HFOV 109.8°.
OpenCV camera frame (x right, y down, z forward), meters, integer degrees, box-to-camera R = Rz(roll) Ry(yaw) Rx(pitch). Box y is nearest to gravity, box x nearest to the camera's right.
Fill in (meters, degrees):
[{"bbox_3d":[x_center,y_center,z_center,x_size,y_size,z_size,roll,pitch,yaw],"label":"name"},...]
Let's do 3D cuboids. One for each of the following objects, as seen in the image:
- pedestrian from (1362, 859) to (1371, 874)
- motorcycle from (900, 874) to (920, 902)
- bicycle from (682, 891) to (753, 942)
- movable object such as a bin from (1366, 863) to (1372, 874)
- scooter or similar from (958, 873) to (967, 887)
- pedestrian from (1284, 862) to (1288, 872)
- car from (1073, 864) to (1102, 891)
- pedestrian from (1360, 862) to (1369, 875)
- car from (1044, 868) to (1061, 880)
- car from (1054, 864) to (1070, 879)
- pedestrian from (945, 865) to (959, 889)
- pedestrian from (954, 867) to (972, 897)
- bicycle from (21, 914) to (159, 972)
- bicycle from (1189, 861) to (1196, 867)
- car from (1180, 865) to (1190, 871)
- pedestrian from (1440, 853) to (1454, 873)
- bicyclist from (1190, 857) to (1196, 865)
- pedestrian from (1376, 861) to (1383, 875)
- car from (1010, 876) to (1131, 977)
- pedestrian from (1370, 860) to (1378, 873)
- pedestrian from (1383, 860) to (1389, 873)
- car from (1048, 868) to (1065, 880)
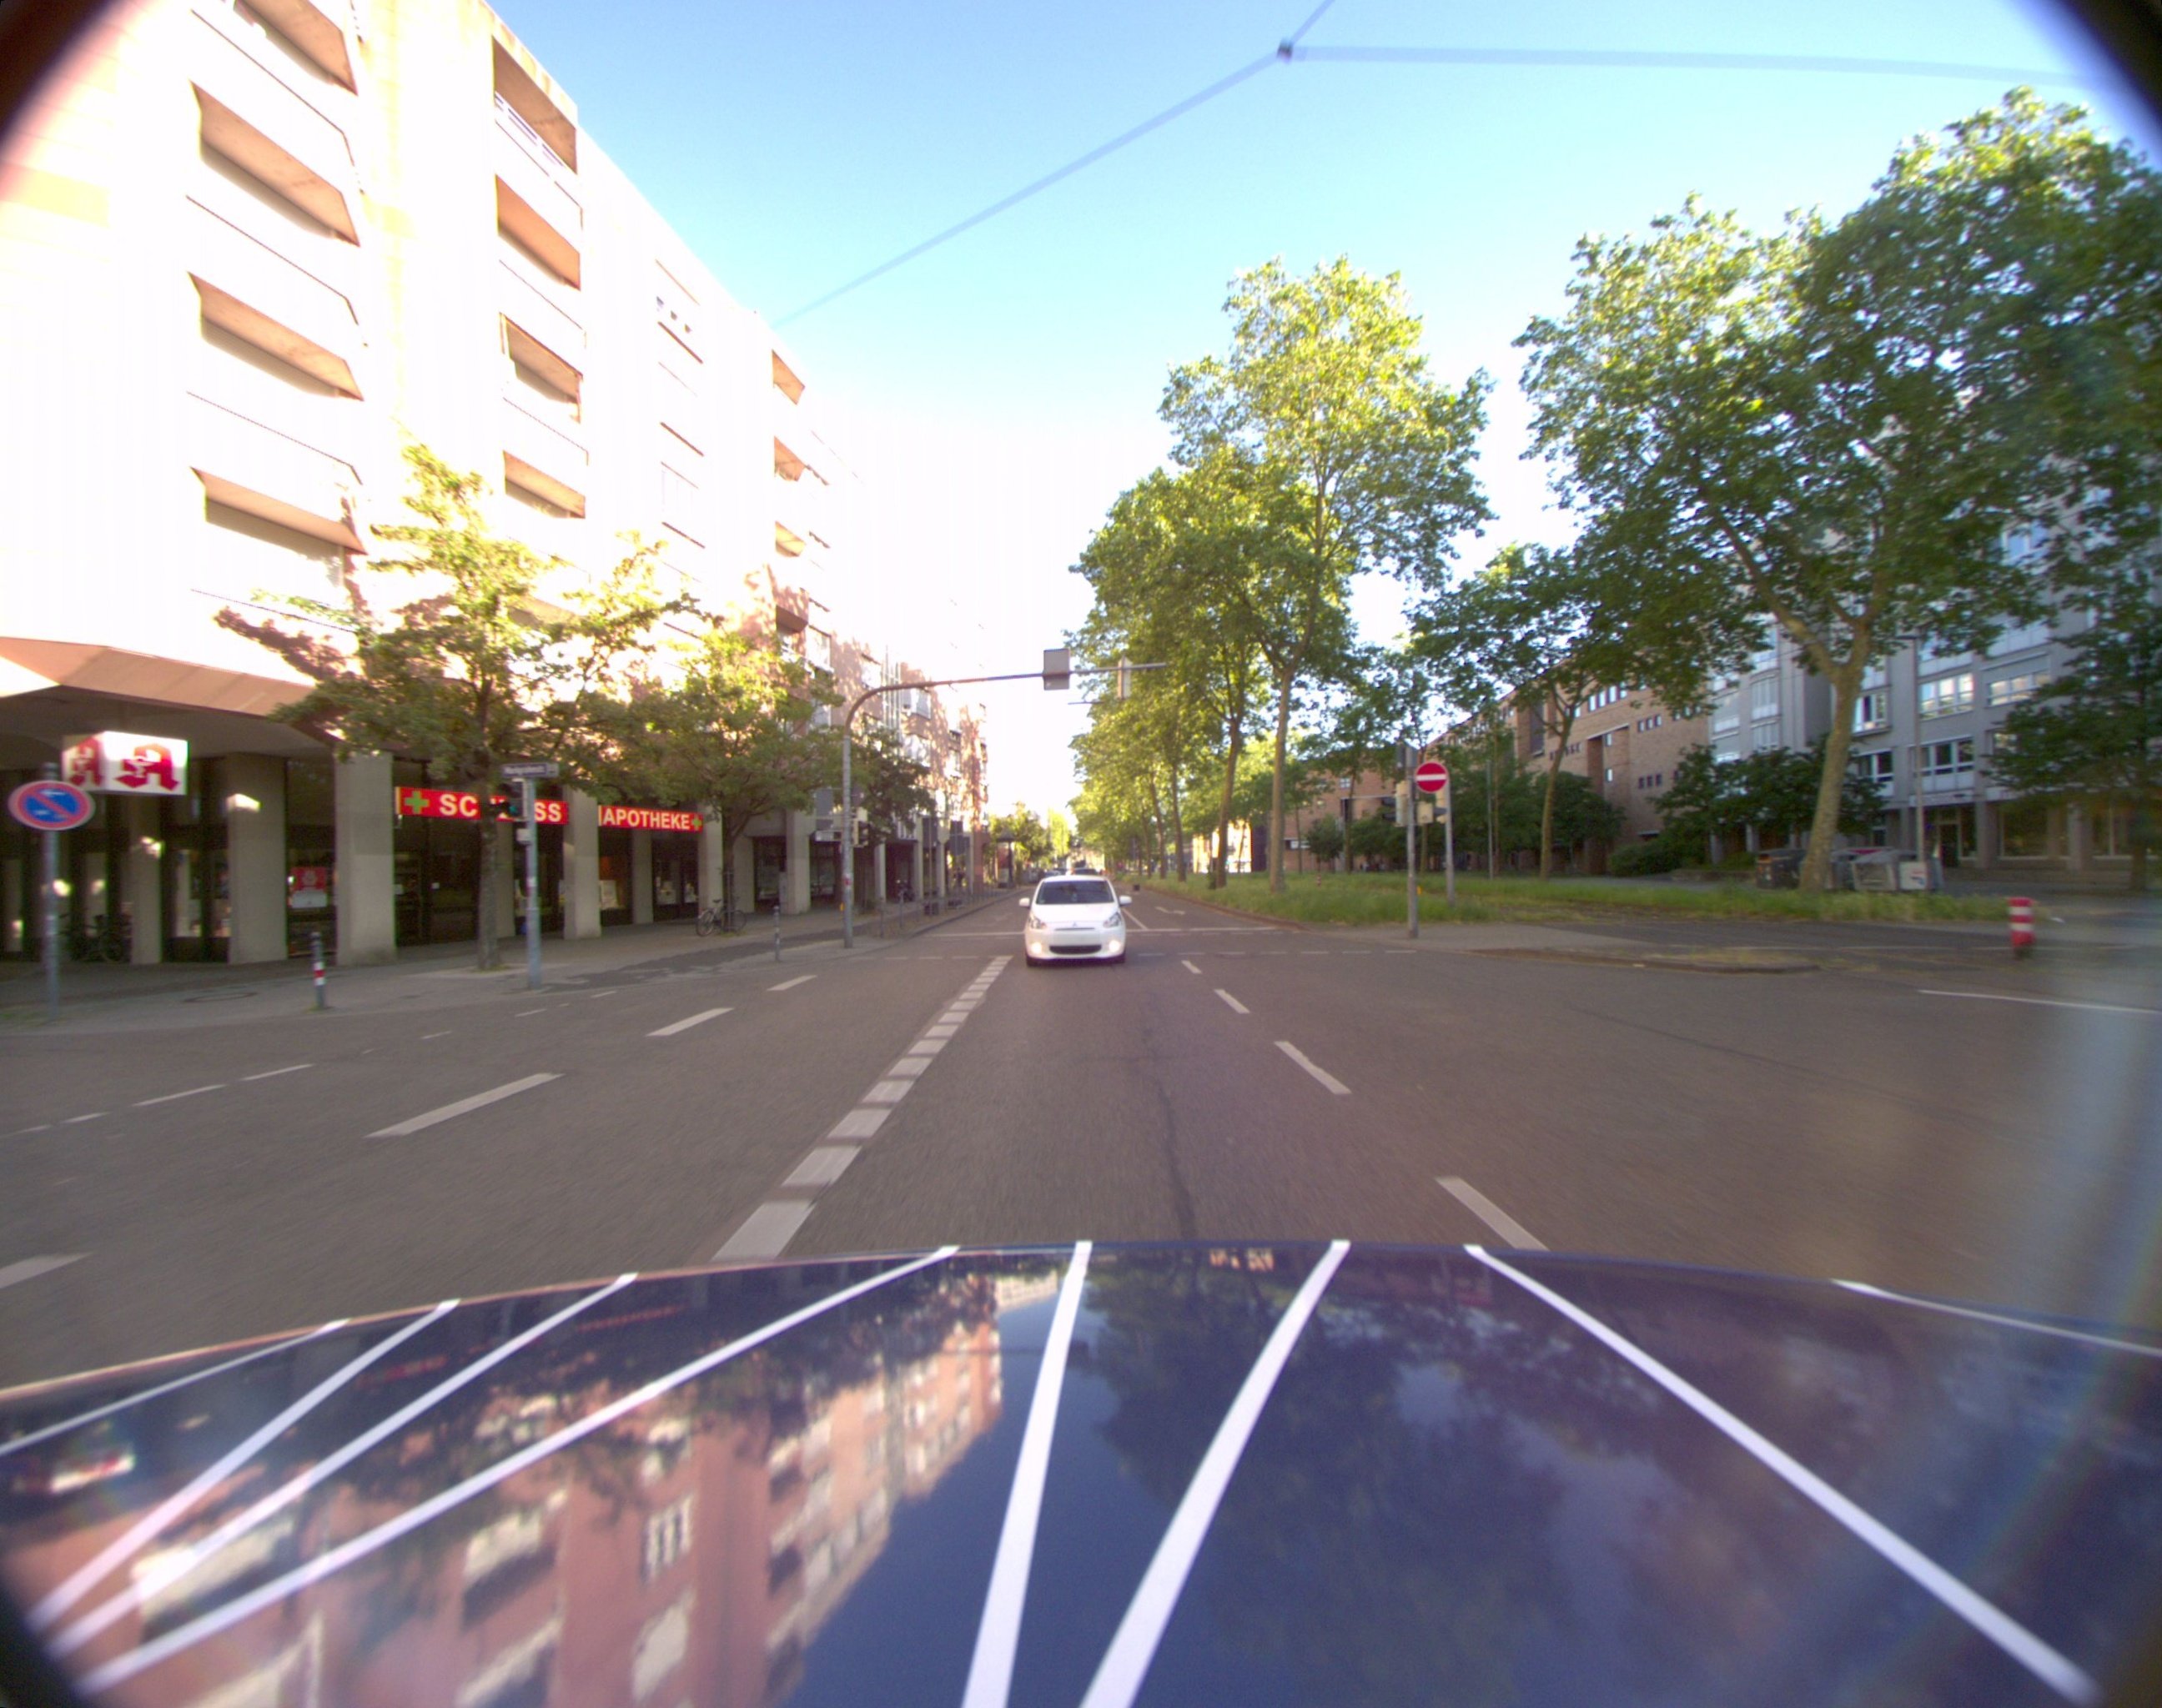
[{"bbox_3d":[33.364,1.446,88.774,0.665,1.711,0.797,-1,0,0],"label":"pedestrian"},{"bbox_3d":[-8.820,1.740,39.158,0.489,1.364,2.091,-1,-1,1],"label":"motorcycle"},{"bbox_3d":[-9.646,1.637,20.259,0.622,1.218,1.929,-2,-1,13],"label":"bicycle"},{"bbox_3d":[33.309,1.654,87.985,0.356,1.271,0.756,-1,-1,0],"label":"movable object such as a bin"},{"bbox_3d":[-10.552,2.344,67.624,0.486,1.209,1.448,-1,-1,-19],"label":"scooter or similar"},{"bbox_3d":[33.756,2.149,125.285,0.417,1.534,0.653,-1,0,-6],"label":"pedestrian"},{"bbox_3d":[0.450,1.517,50.032,1.824,1.630,4.001,-1,-1,1],"label":"car"},{"bbox_3d":[33.609,1.733,90.123,0.665,1.607,0.756,-1,0,0],"label":"pedestrian"},{"bbox_3d":[-3.380,2.368,90.637,1.706,1.474,4.250,0,-1,3],"label":"car"},{"bbox_3d":[-2.558,2.384,103.920,2.043,1.931,5.198,1,-1,-1],"label":"car"},{"bbox_3d":[-10.667,1.894,62.996,0.850,1.970,0.816,-1,0,-33],"label":"pedestrian"},{"bbox_3d":[-7.006,1.661,45.008,0.782,1.728,0.837,-1,0,9],"label":"pedestrian"},{"bbox_3d":[-19.962,1.790,15.305,2.447,1.088,0.594,-1,0,9],"label":"bicycle"},{"bbox_3d":[21.461,1.928,145.923,0.959,1.119,2.436,-1,0,1],"label":"bicycle"},{"bbox_3d":[23.757,3.142,173.820,1.675,1.420,4.150,-1,-1,-1],"label":"car"},{"bbox_3d":[34.439,0.880,71.562,0.826,1.820,0.901,-1,-1,2],"label":"pedestrian"},{"bbox_3d":[21.454,1.291,145.850,0.943,1.561,1.210,-1,-1,1],"label":"bicyclist"},{"bbox_3d":[34.796,1.607,88.558,0.612,1.669,0.596,-1,0,0],"label":"pedestrian"},{"bbox_3d":[-0.028,1.196,14.065,1.720,1.442,4.427,-4,-1,5],"label":"car"},{"bbox_3d":[34.196,1.459,88.661,0.665,1.607,0.756,-1,0,0],"label":"pedestrian"},{"bbox_3d":[35.344,1.459,88.175,0.484,1.496,0.463,-1,0,1],"label":"pedestrian"},{"bbox_3d":[-3.037,2.516,96.618,1.705,1.456,4.177,0,-1,4],"label":"car"}]
